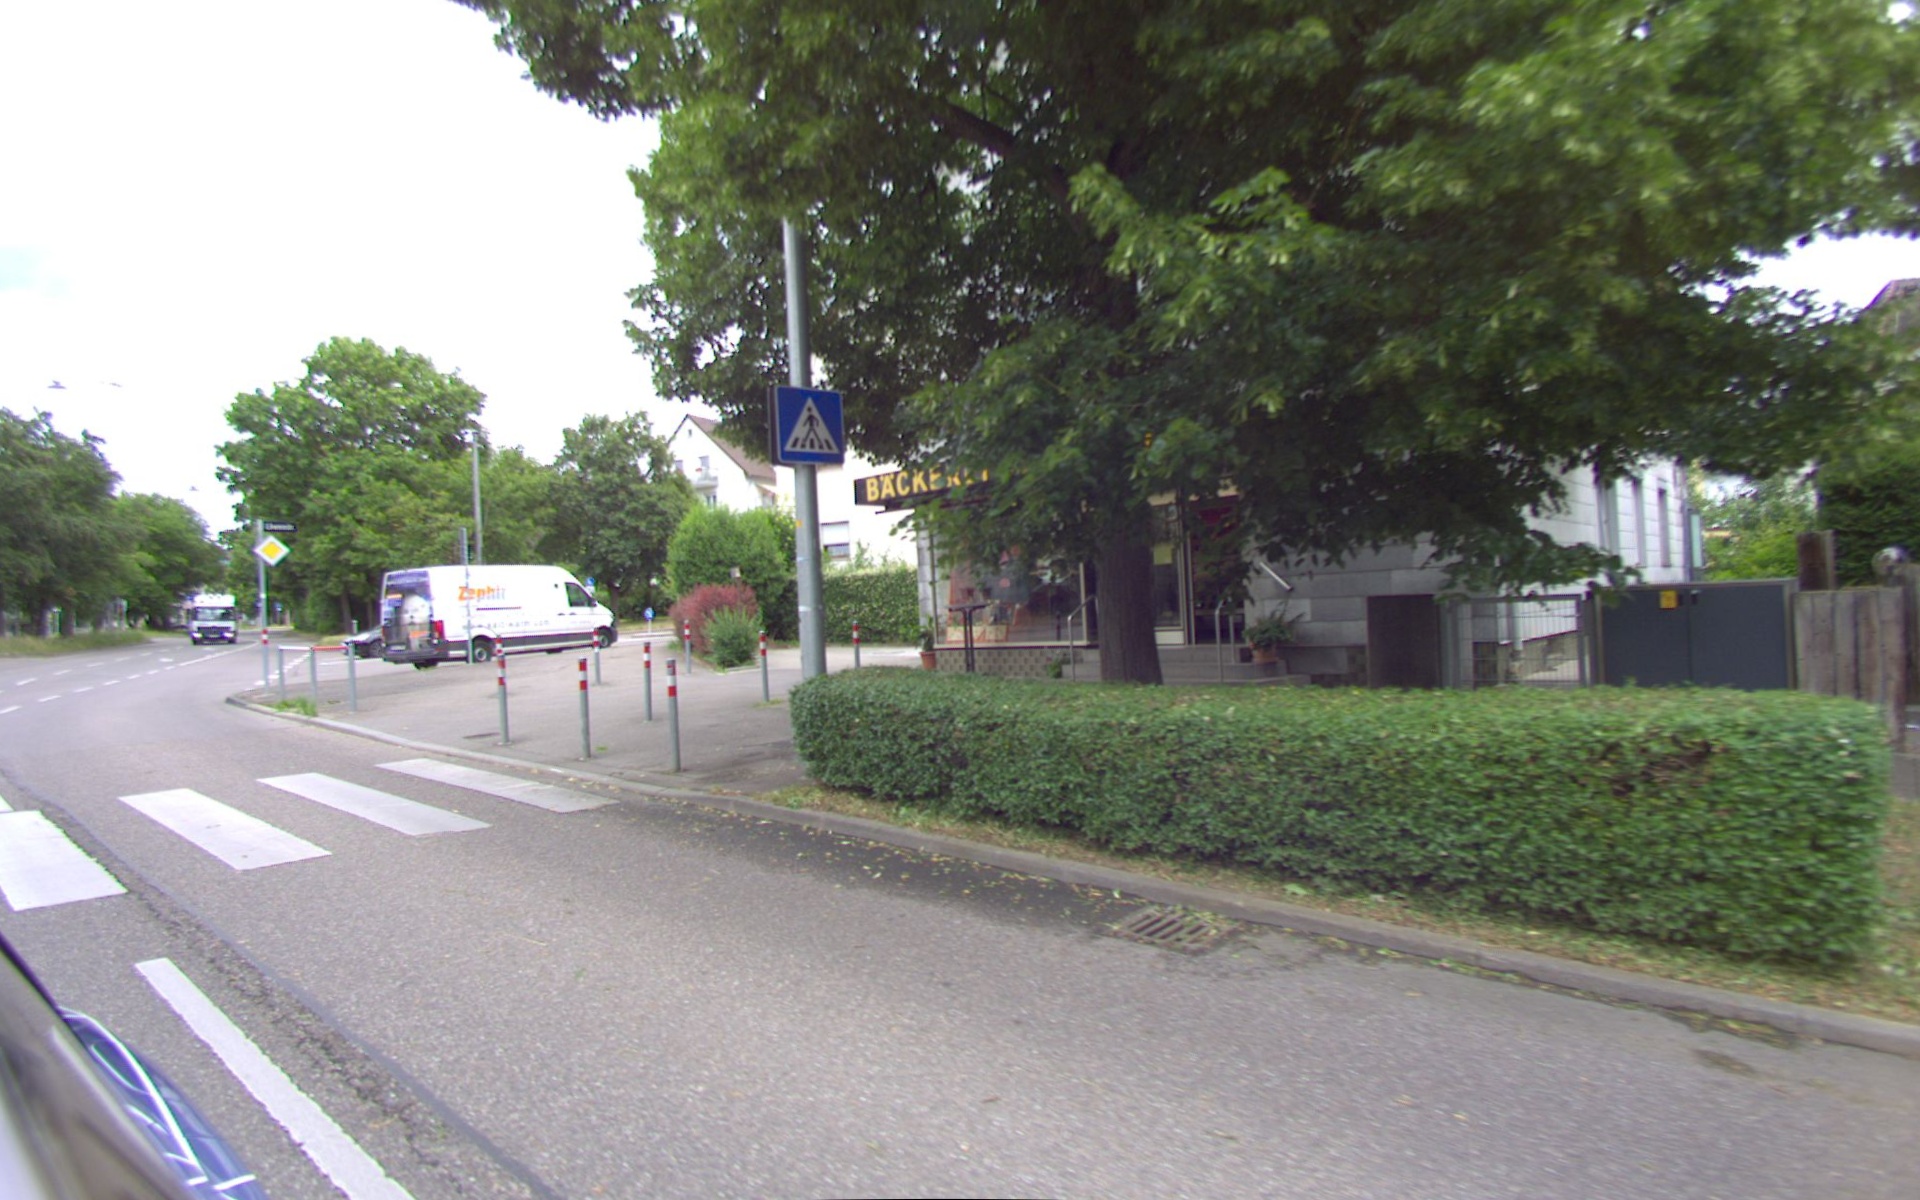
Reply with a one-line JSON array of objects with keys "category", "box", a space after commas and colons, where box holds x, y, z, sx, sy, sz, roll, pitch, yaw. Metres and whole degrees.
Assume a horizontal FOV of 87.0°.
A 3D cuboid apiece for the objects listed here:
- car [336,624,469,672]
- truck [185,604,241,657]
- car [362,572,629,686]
[{"category": "car", "box": [-19.654, 1.663, 35.718, 3.934, 1.346, 1.648, -4, 0, -35]}, {"category": "truck", "box": [-48.509, 1.944, 65.830, 2.396, 3.219, 6.484, -2, 0, -33]}, {"category": "car", "box": [-12.082, 0.613, 27.137, 2.070, 2.540, 6.934, -5, 0, 20]}]
